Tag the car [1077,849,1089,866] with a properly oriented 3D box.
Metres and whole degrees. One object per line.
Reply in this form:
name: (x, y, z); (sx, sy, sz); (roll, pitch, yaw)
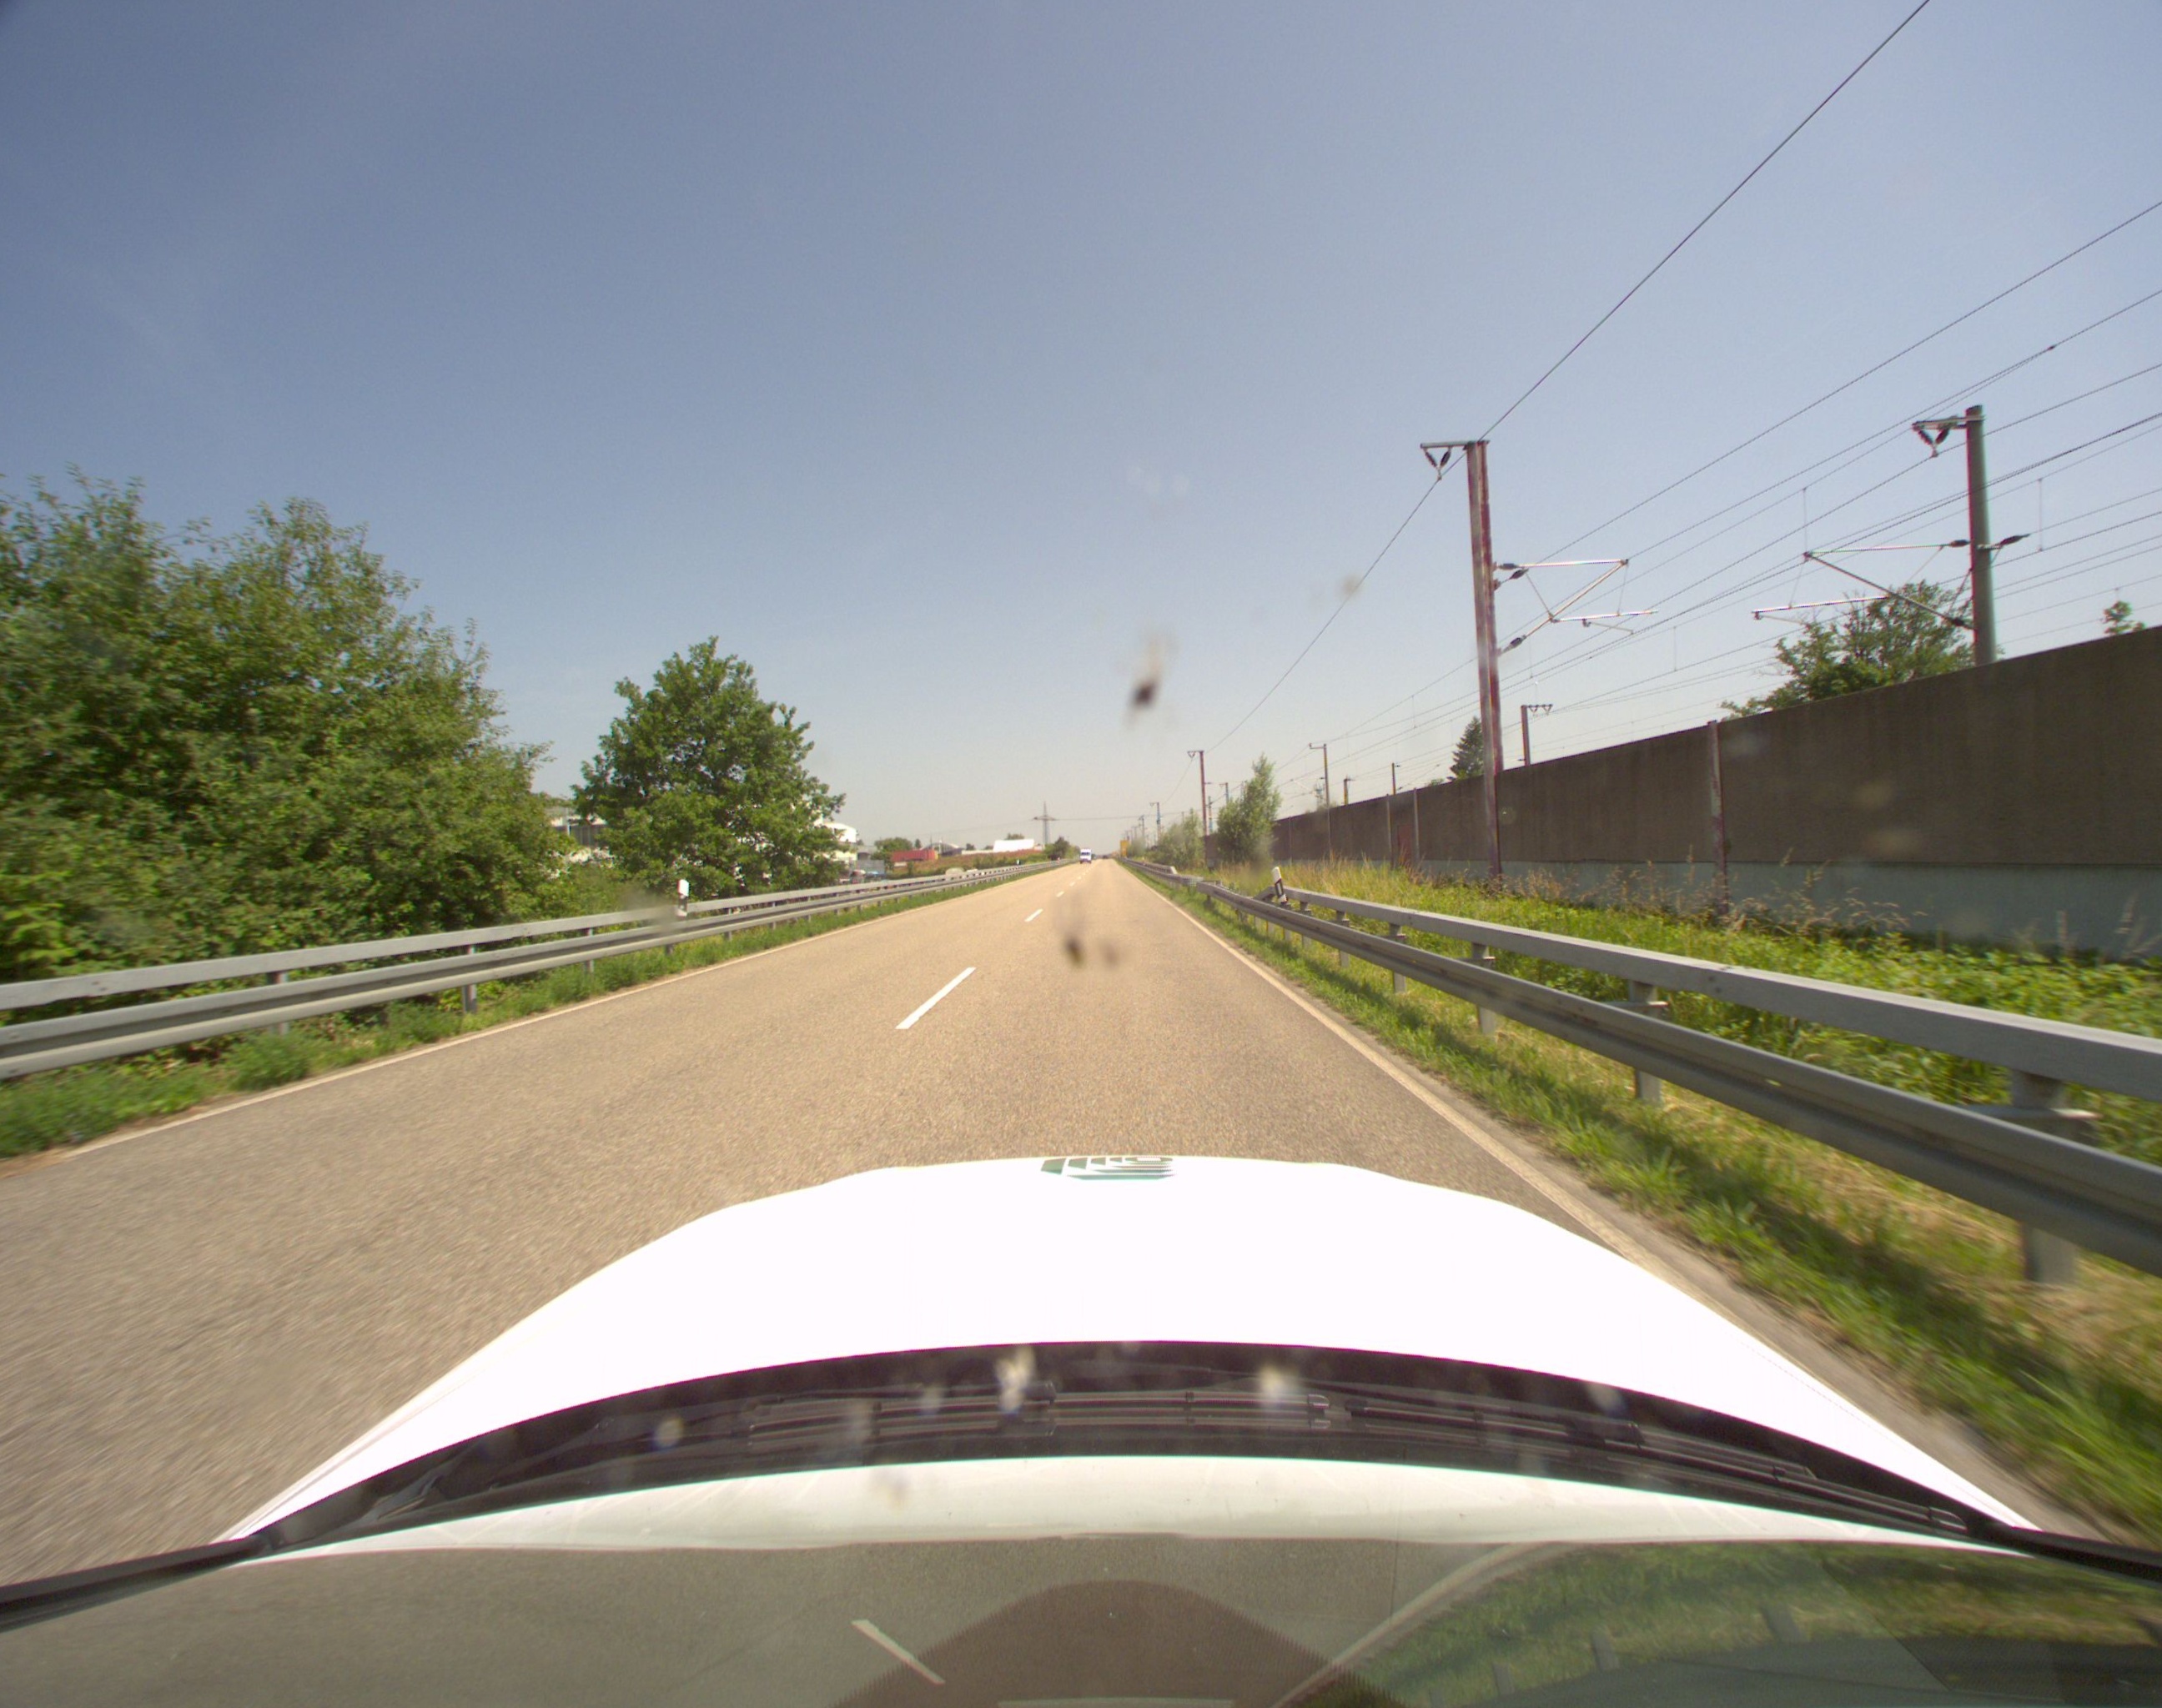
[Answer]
car: (0.372, 0.574, 147.893); (2.071, 2.962, 6.731); (-1, 0, 1)
